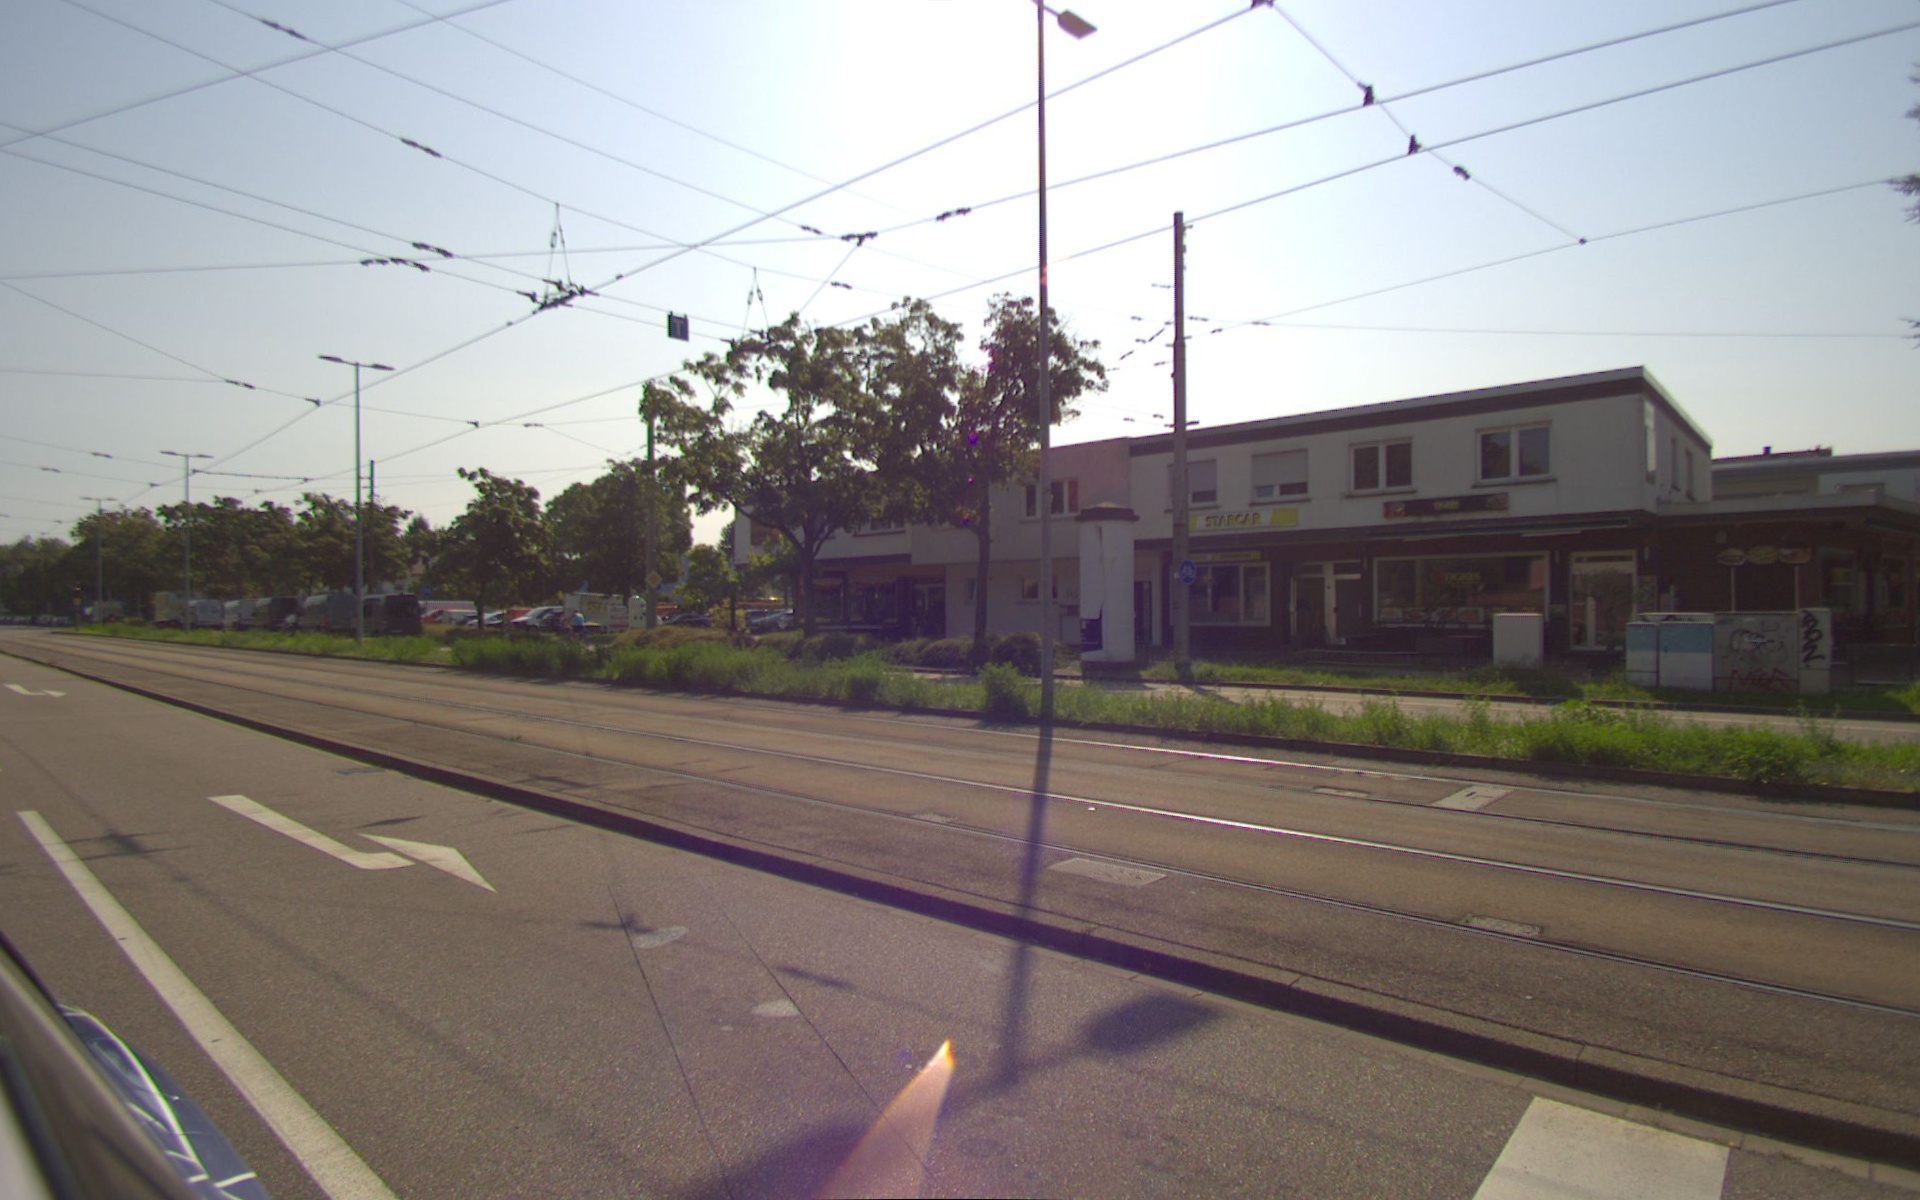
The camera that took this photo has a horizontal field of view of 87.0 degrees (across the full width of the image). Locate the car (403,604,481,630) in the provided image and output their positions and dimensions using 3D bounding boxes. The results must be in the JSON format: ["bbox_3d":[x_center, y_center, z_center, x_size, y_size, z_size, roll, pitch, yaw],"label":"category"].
[{"bbox_3d":[-41.088,1.362,80.358,2.052,1.940,5.130,-1,-2,41],"label":"car"}]

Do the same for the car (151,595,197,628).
[{"bbox_3d":[-71.709,1.061,92.262,7.232,2.826,2.101,-1,-2,43],"label":"car"}]

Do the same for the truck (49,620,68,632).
[{"bbox_3d":[-132.966,3.886,149.229,3.656,1.687,1.668,-1,-2,43],"label":"truck"}]

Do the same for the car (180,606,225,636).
[{"bbox_3d":[-64.325,1.764,85.923,4.830,2.477,2.120,-1,-2,42],"label":"car"}]

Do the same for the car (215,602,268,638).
[{"bbox_3d":[-53.984,1.507,76.014,5.631,2.606,2.109,-1,-3,43],"label":"car"}]

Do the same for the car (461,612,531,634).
[{"bbox_3d":[-32.005,1.591,69.838,1.625,1.474,4.108,-1,-2,45],"label":"car"}]

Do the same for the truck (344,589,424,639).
[{"bbox_3d":[-31.570,0.781,55.360,5.738,2.567,2.058,-1,-2,42],"label":"truck"}]

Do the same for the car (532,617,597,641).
[{"bbox_3d":[-24.483,1.795,62.682,1.633,1.437,3.368,-1,-2,41],"label":"car"}]

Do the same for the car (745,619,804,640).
[{"bbox_3d":[-12.450,1.944,67.919,3.659,1.353,1.493,1,-1,-40],"label":"car"}]

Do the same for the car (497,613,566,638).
[{"bbox_3d":[-28.187,1.677,66.625,1.633,1.530,3.882,-1,-2,41],"label":"car"}]

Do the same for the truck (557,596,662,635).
[{"bbox_3d":[-20.613,0.948,59.697,2.259,2.189,5.432,-1,-2,41],"label":"truck"}]

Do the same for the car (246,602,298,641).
[{"bbox_3d":[-48.018,1.516,70.561,5.911,2.606,1.802,-1,0,44],"label":"car"}]

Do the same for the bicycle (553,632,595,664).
[{"bbox_3d":[-13.882,1.719,36.371,0.706,1.099,2.269,2,-2,-39],"label":"bicycle"}]

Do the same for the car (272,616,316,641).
[{"bbox_3d":[-43.618,1.864,66.244,1.724,1.564,3.836,0,0,-45],"label":"car"}]

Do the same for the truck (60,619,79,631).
[{"bbox_3d":[-125.441,3.504,142.546,3.656,1.687,1.668,-1,-2,43],"label":"truck"}]

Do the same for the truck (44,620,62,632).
[{"bbox_3d":[-136.213,3.905,151.953,3.656,1.687,1.668,-1,-2,43],"label":"truck"}]

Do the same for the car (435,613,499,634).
[{"bbox_3d":[-35.868,1.737,73.697,1.633,1.461,3.882,-1,-2,41],"label":"car"}]

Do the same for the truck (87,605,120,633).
[{"bbox_3d":[-103.219,2.282,121.914,2.247,3.145,8.792,3,-3,-44],"label":"truck"}]

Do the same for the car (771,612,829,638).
[{"bbox_3d":[-10.542,1.636,66.790,1.875,1.513,3.412,2,3,39],"label":"car"}]

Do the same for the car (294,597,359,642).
[{"bbox_3d":[-38.909,1.174,62.093,6.470,2.605,1.966,-1,0,45],"label":"car"}]

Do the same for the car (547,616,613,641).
[{"bbox_3d":[-22.850,1.703,60.952,1.633,1.437,3.368,-1,-2,41],"label":"car"}]

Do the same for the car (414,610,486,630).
[{"bbox_3d":[-39.164,1.562,77.785,1.633,1.461,4.604,-1,-2,41],"label":"car"}]

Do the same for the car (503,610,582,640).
[{"bbox_3d":[-26.591,1.604,64.572,1.633,1.798,4.352,-1,-2,41],"label":"car"}]

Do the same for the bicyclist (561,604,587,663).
[{"bbox_3d":[-13.903,1.213,36.418,0.629,2.080,0.776,2,-2,-38],"label":"bicyclist"}]
